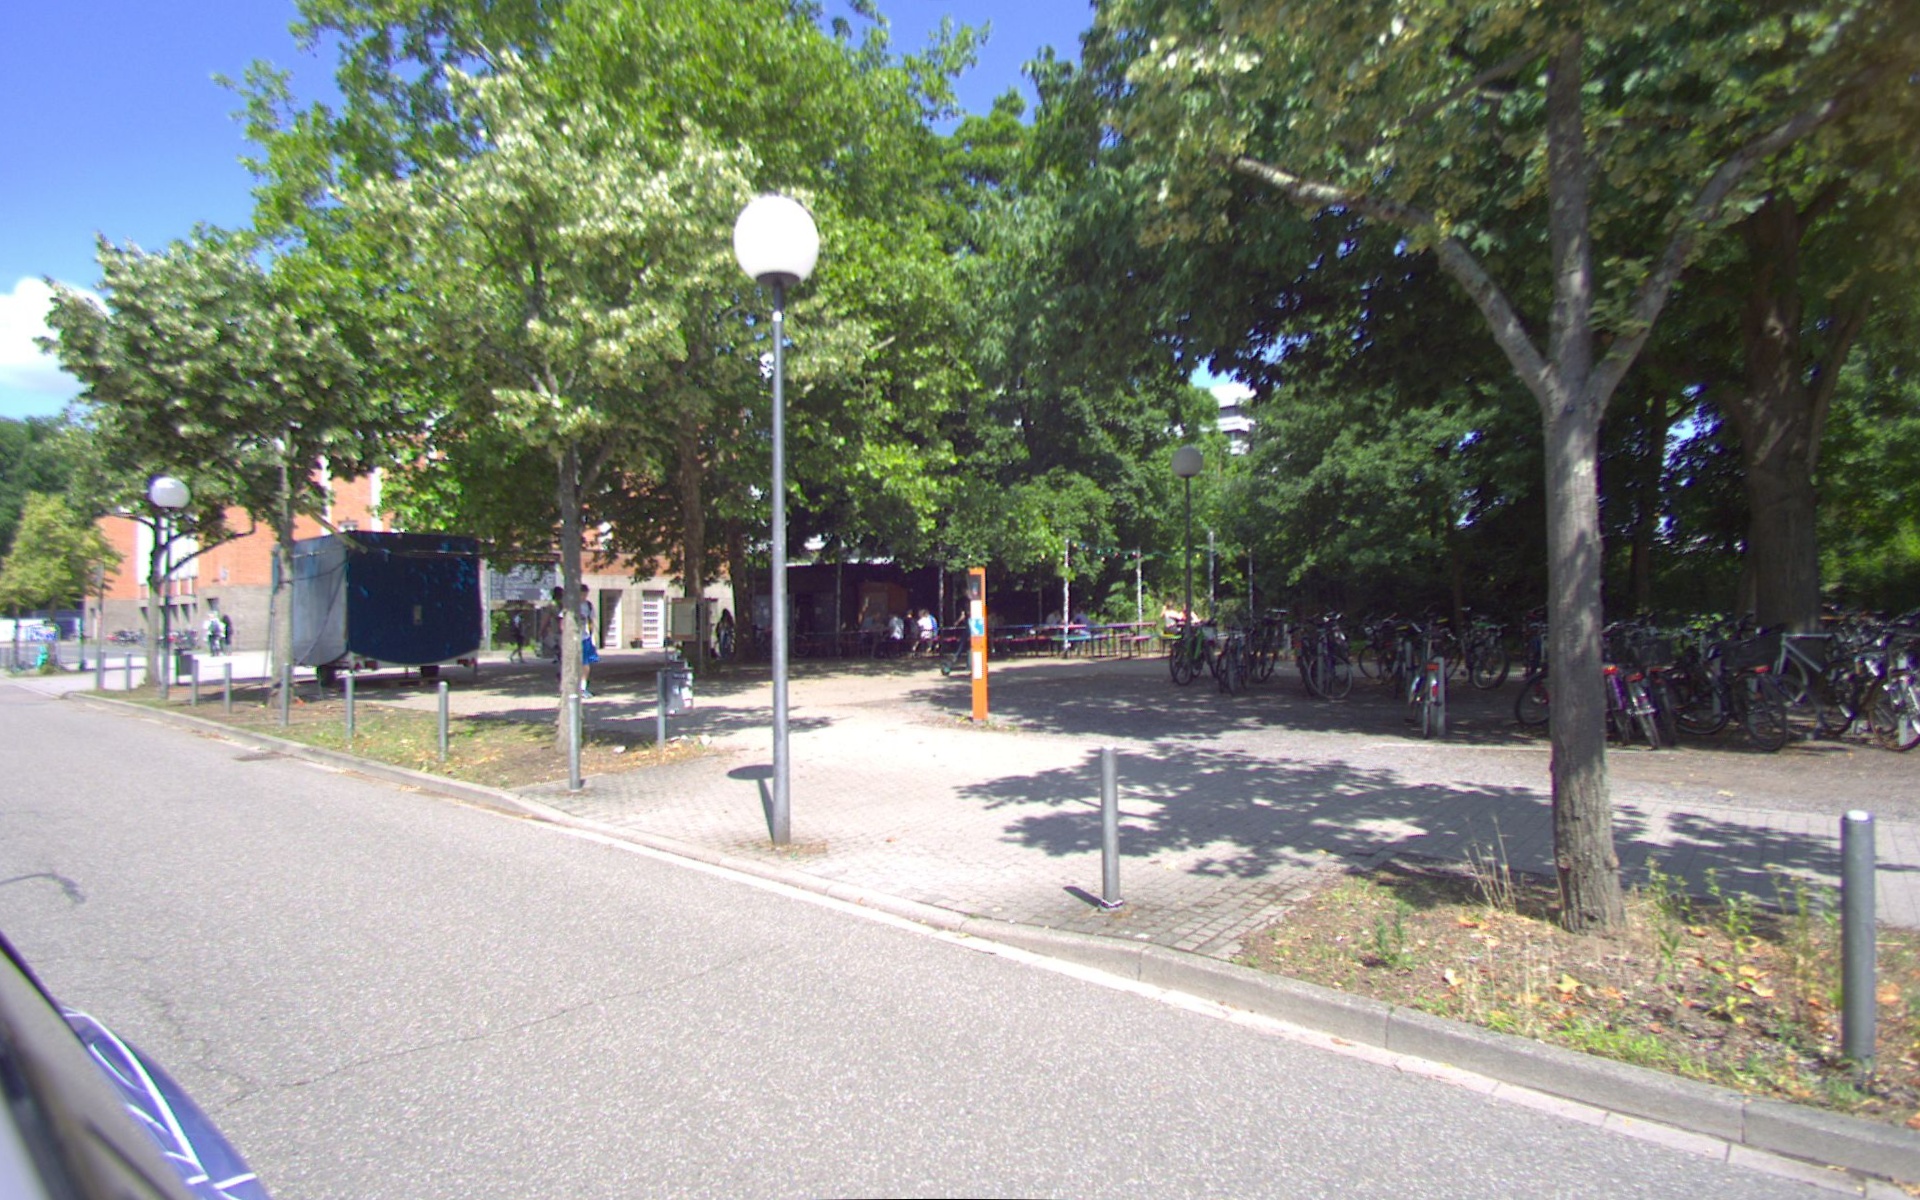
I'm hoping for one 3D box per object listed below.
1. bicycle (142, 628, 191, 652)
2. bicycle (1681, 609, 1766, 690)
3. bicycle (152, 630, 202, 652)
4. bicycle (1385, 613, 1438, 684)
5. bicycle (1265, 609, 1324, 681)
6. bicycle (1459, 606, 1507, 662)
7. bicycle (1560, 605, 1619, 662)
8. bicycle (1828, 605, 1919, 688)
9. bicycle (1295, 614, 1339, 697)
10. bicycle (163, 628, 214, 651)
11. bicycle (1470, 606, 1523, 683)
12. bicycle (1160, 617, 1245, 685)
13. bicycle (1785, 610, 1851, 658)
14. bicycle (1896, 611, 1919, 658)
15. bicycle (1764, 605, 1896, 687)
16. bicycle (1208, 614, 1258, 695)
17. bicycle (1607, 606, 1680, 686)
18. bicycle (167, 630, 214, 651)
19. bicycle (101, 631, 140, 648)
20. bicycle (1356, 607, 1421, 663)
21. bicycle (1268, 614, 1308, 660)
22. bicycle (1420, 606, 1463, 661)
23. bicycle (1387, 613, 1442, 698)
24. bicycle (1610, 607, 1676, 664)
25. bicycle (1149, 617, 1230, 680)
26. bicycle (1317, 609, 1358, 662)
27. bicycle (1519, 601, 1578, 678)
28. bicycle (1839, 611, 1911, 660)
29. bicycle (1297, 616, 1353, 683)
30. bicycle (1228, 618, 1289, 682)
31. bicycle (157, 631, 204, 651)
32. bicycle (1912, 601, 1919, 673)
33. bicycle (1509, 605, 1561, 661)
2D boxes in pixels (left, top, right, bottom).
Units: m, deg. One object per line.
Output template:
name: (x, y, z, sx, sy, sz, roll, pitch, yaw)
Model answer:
bicycle: (-41.964, 2.101, 53.550, 0.439, 1.134, 1.998, -2, 0, 45)
bicycle: (11.203, 0.697, 14.907, 0.544, 1.097, 1.951, -2, 0, 24)
bicycle: (-41.228, 2.147, 53.288, 0.592, 1.134, 2.000, -2, -2, 42)
bicycle: (7.242, 0.751, 16.198, 0.535, 1.035, 1.947, -2, -1, 30)
bicycle: (5.708, 0.735, 17.208, 0.535, 1.134, 1.947, -2, -1, 30)
bicycle: (11.021, 0.687, 21.375, 0.592, 1.099, 1.946, 0, 0, 18)
bicycle: (12.970, 0.655, 20.892, 0.592, 1.099, 1.946, 0, 0, 18)
bicycle: (13.375, 0.629, 14.482, 0.541, 1.097, 1.960, -1, 0, 12)
bicycle: (5.193, 0.768, 14.707, 0.543, 1.097, 1.849, -2, 0, 20)
bicycle: (-39.691, 2.005, 52.113, 0.666, 1.134, 2.001, -2, -1, 40)
bicycle: (8.252, 0.654, 15.620, 0.534, 1.097, 1.952, -2, 0, 23)
bicycle: (4.065, 0.825, 16.874, 0.537, 1.022, 1.783, -2, -1, 43)
bicycle: (16.973, 0.654, 20.060, 0.416, 0.900, 1.755, -2, 0, 21)
bicycle: (18.901, 0.681, 19.649, 0.416, 0.900, 1.755, -2, 0, 21)
bicycle: (12.531, 0.635, 14.655, 0.541, 1.097, 1.960, -1, 0, 12)
bicycle: (4.078, 0.777, 15.061, 0.543, 1.097, 1.849, -2, 0, 20)
bicycle: (10.179, 0.655, 15.133, 0.544, 1.097, 1.951, -2, 0, 24)
bicycle: (-42.240, 2.209, 55.567, 0.621, 1.090, 1.989, -2, -1, 40)
bicycle: (-55.545, 2.612, 66.993, 0.541, 1.038, 1.931, -2, -1, 40)
bicycle: (9.081, 0.716, 21.518, 0.589, 1.099, 1.957, 0, 0, 2)
bicycle: (7.384, 0.805, 22.739, 0.544, 0.949, 1.866, 0, 0, 28)
bicycle: (10.293, 0.698, 21.697, 0.592, 1.099, 1.946, 0, 0, 18)
bicycle: (6.412, 0.756, 14.333, 0.543, 1.097, 1.849, -2, 0, 20)
bicycle: (13.901, 0.693, 20.645, 0.592, 1.099, 1.946, 0, 0, 18)
bicycle: (4.081, 0.831, 17.897, 0.537, 1.022, 1.782, -2, -1, 43)
bicycle: (8.325, 0.756, 22.282, 0.594, 1.099, 1.940, 0, 0, 28)
bicycle: (9.041, 0.580, 15.604, 0.544, 1.097, 1.951, -2, 0, 24)
bicycle: (17.924, 0.678, 19.868, 0.416, 0.900, 1.755, -2, 0, 21)
bicycle: (6.203, 0.809, 17.144, 0.535, 1.035, 1.947, -2, -1, 30)
bicycle: (5.192, 0.839, 17.532, 0.535, 1.011, 1.947, -2, -1, 30)
bicycle: (-43.638, 2.262, 56.643, 0.663, 1.069, 2.001, -2, -1, 40)
bicycle: (14.725, 0.560, 14.545, 0.541, 1.097, 1.960, -1, 0, 12)
bicycle: (12.141, 0.672, 21.410, 0.592, 1.099, 1.946, 0, 0, 18)
